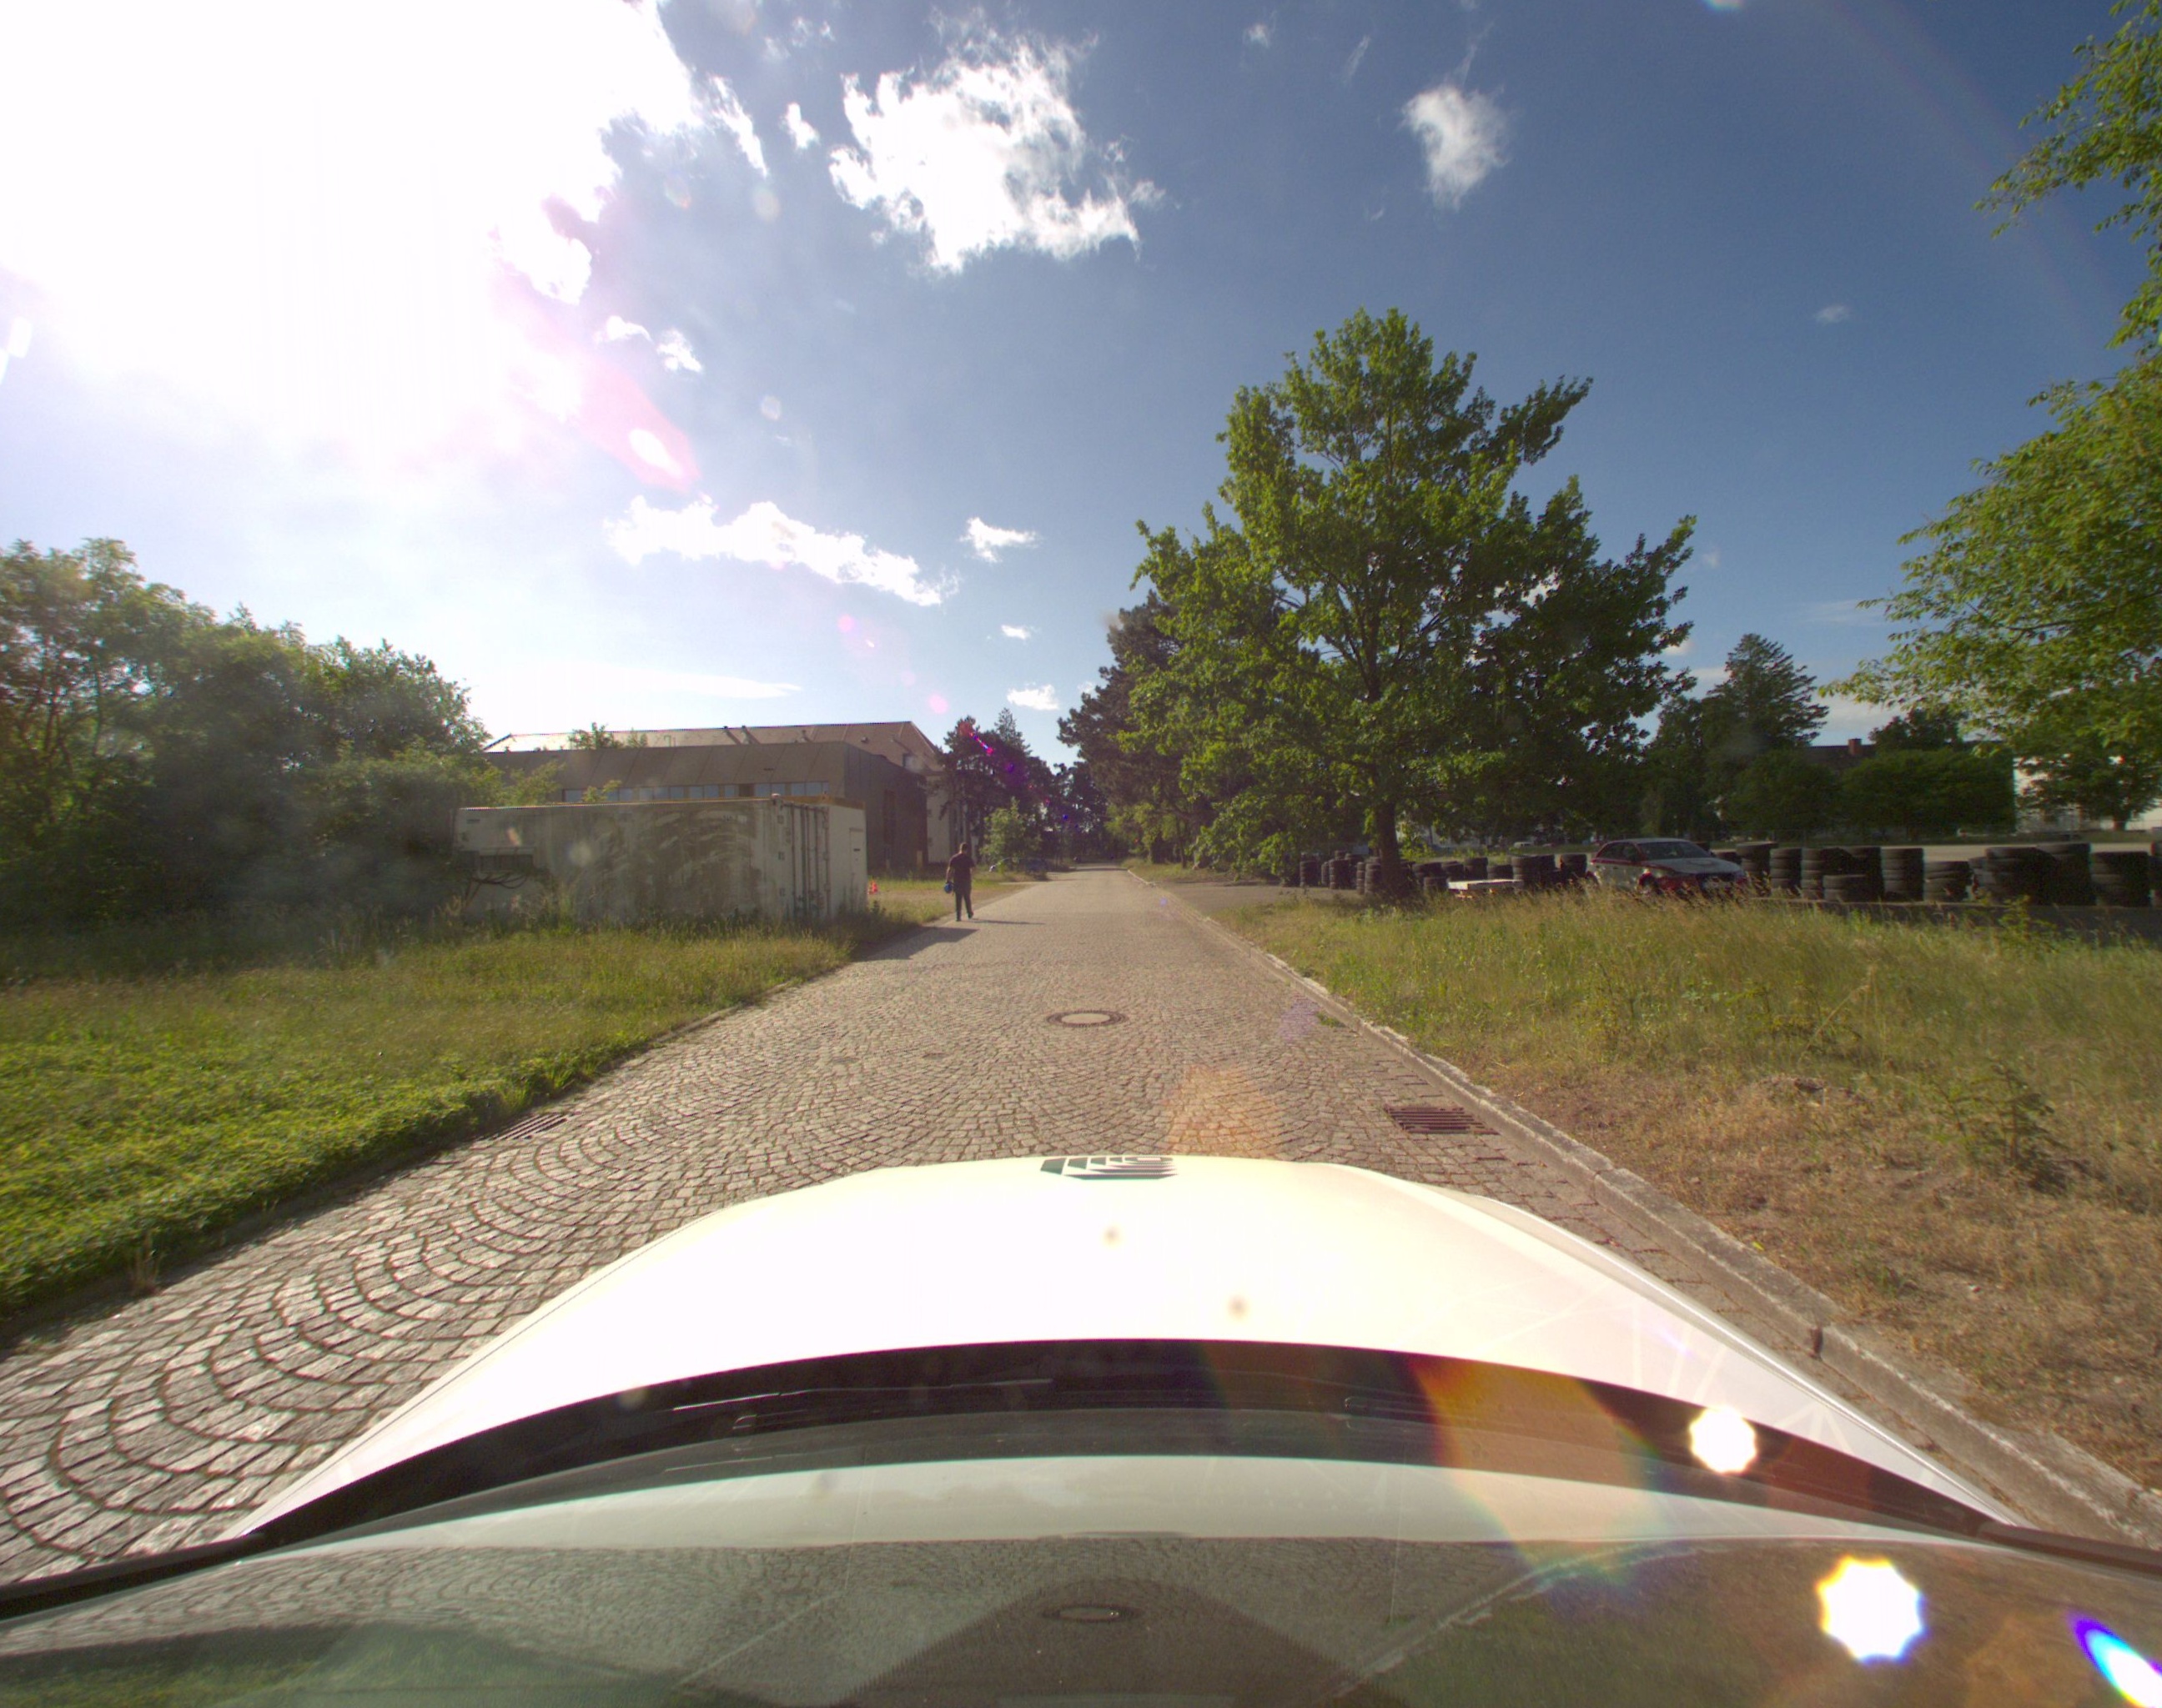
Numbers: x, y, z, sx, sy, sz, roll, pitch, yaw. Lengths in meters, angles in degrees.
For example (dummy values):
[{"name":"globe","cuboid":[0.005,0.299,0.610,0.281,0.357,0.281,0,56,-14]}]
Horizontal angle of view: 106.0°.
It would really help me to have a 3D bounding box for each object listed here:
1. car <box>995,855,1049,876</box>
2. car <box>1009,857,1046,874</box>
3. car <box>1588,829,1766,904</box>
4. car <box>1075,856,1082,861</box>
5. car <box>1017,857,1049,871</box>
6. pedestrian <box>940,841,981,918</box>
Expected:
[{"name":"car","cuboid":[-4.292,0.839,59.665,3.822,1.441,1.582,-2,0,-1]},{"name":"car","cuboid":[-4.419,0.920,66.772,2.900,1.259,1.284,-2,0,-8]},{"name":"car","cuboid":[12.583,0.256,17.480,1.532,1.407,3.585,-2,0,7]},{"name":"car","cuboid":[-0.585,0.982,182.087,1.365,1.099,2.861,-2,0,-1]},{"name":"car","cuboid":[-4.519,0.947,76.107,2.851,1.206,1.370,-2,0,-8]},{"name":"pedestrian","cuboid":[-2.850,0.586,19.332,0.792,1.781,1.068,0,-1,0]}]
